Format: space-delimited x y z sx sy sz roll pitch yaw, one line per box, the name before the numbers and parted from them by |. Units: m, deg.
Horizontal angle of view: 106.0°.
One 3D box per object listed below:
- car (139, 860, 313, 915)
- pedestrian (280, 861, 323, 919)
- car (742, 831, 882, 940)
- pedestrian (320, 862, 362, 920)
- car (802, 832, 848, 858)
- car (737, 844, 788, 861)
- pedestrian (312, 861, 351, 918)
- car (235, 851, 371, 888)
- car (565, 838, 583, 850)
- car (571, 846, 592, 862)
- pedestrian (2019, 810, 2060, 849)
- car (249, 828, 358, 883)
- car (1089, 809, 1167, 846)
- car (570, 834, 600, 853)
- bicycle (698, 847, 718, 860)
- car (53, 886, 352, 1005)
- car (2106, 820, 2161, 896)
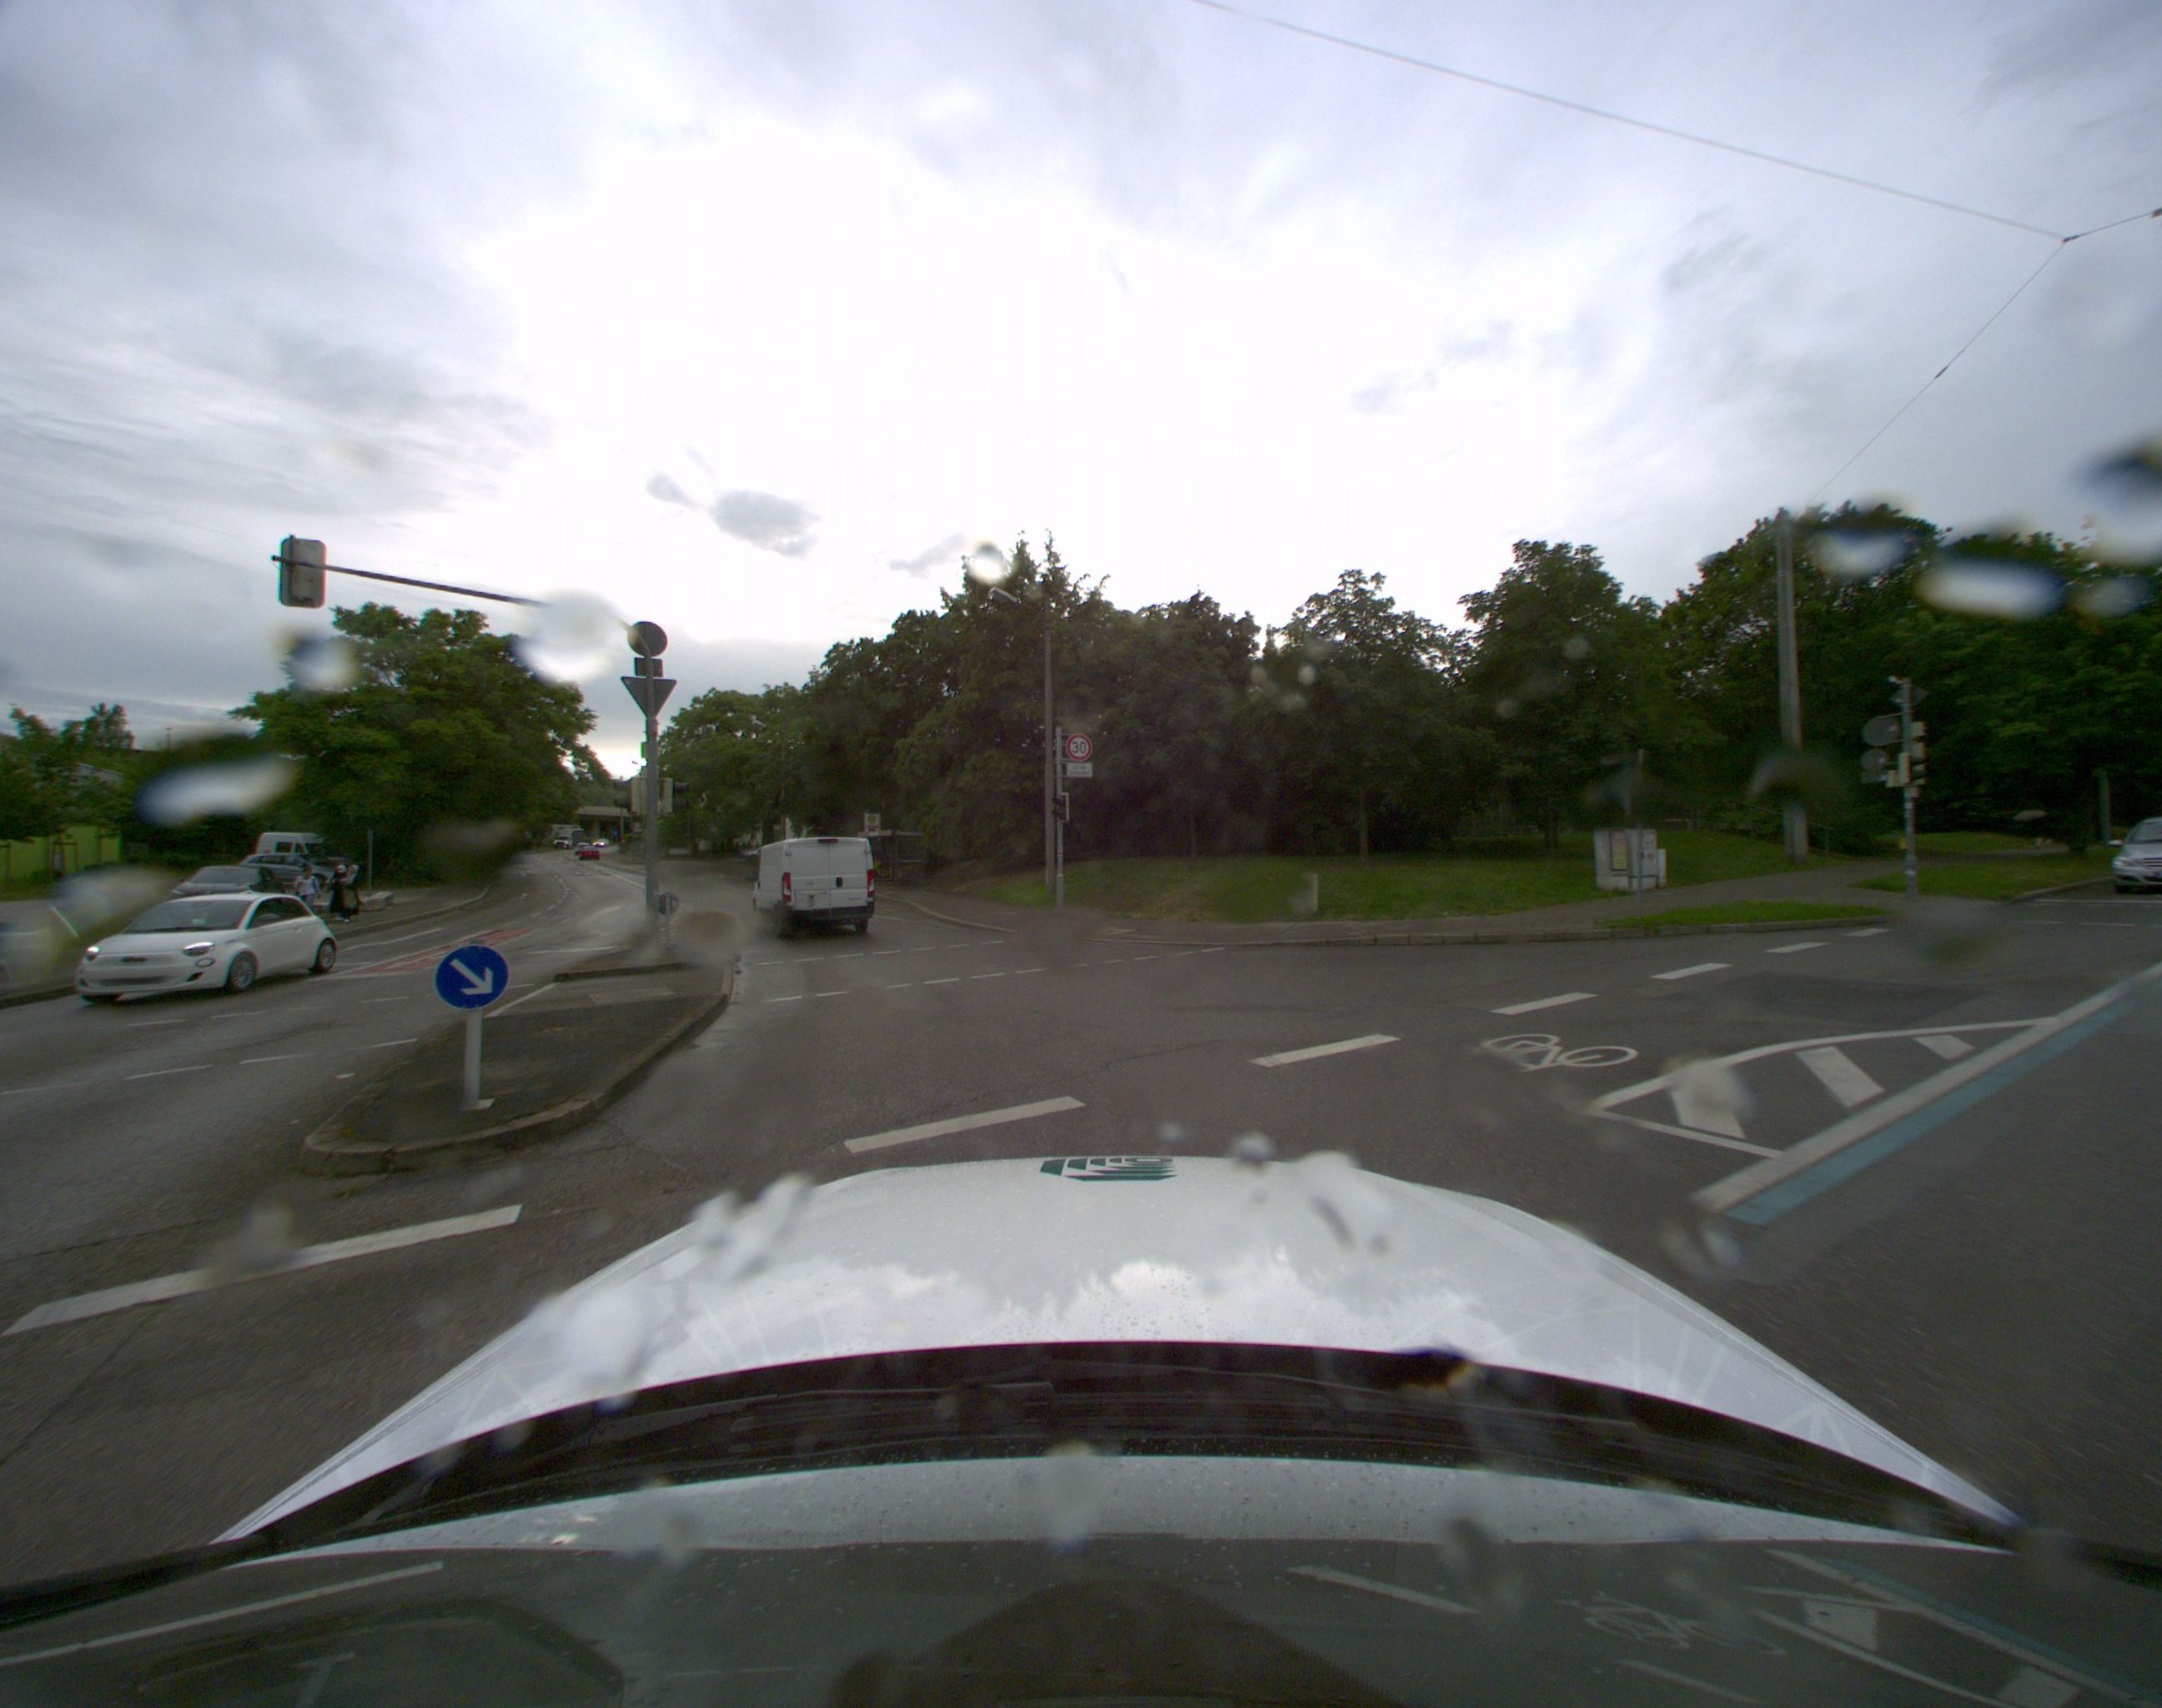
car | -25.214 0.937 24.251 1.752 1.449 4.208 2 0 -18
pedestrian | -22.207 1.023 23.216 0.658 1.602 0.673 2 1 -21
car | -6.760 0.674 20.068 2.161 2.283 5.012 -2 0 -31
pedestrian | -21.156 1.054 23.300 0.658 1.602 0.673 2 1 -21
car | -18.969 -0.664 60.210 2.007 1.805 5.095 1 1 -32
car | -29.346 -0.160 75.077 4.020 1.422 1.685 -2 1 -38
pedestrian | -21.752 1.031 23.640 0.607 1.602 0.673 2 1 -21
car | -36.011 0.691 37.797 4.111 1.542 1.994 2 1 -9
car | -64.909 -1.297 104.246 1.778 1.510 3.717 0 1 -33
car | -53.565 -0.010 87.358 1.849 1.533 4.160 0 1 -33
pedestrian | 40.066 -1.031 34.046 1.044 1.600 1.006 -1 1 -34
car | -39.321 0.019 41.179 5.536 2.532 2.125 2 1 26
car | 2.896 -1.632 50.093 4.322 1.778 1.793 -6 3 -15
car | -84.728 -1.830 139.200 2.539 3.018 7.172 1 1 -16
bicycle | -34.749 -0.043 75.873 1.581 1.114 0.453 -2 2 -32
car | -14.115 1.349 13.456 1.693 1.482 3.973 -2 0 -20
car | 23.953 0.020 17.584 3.875 1.554 1.708 -2 -2 -31
